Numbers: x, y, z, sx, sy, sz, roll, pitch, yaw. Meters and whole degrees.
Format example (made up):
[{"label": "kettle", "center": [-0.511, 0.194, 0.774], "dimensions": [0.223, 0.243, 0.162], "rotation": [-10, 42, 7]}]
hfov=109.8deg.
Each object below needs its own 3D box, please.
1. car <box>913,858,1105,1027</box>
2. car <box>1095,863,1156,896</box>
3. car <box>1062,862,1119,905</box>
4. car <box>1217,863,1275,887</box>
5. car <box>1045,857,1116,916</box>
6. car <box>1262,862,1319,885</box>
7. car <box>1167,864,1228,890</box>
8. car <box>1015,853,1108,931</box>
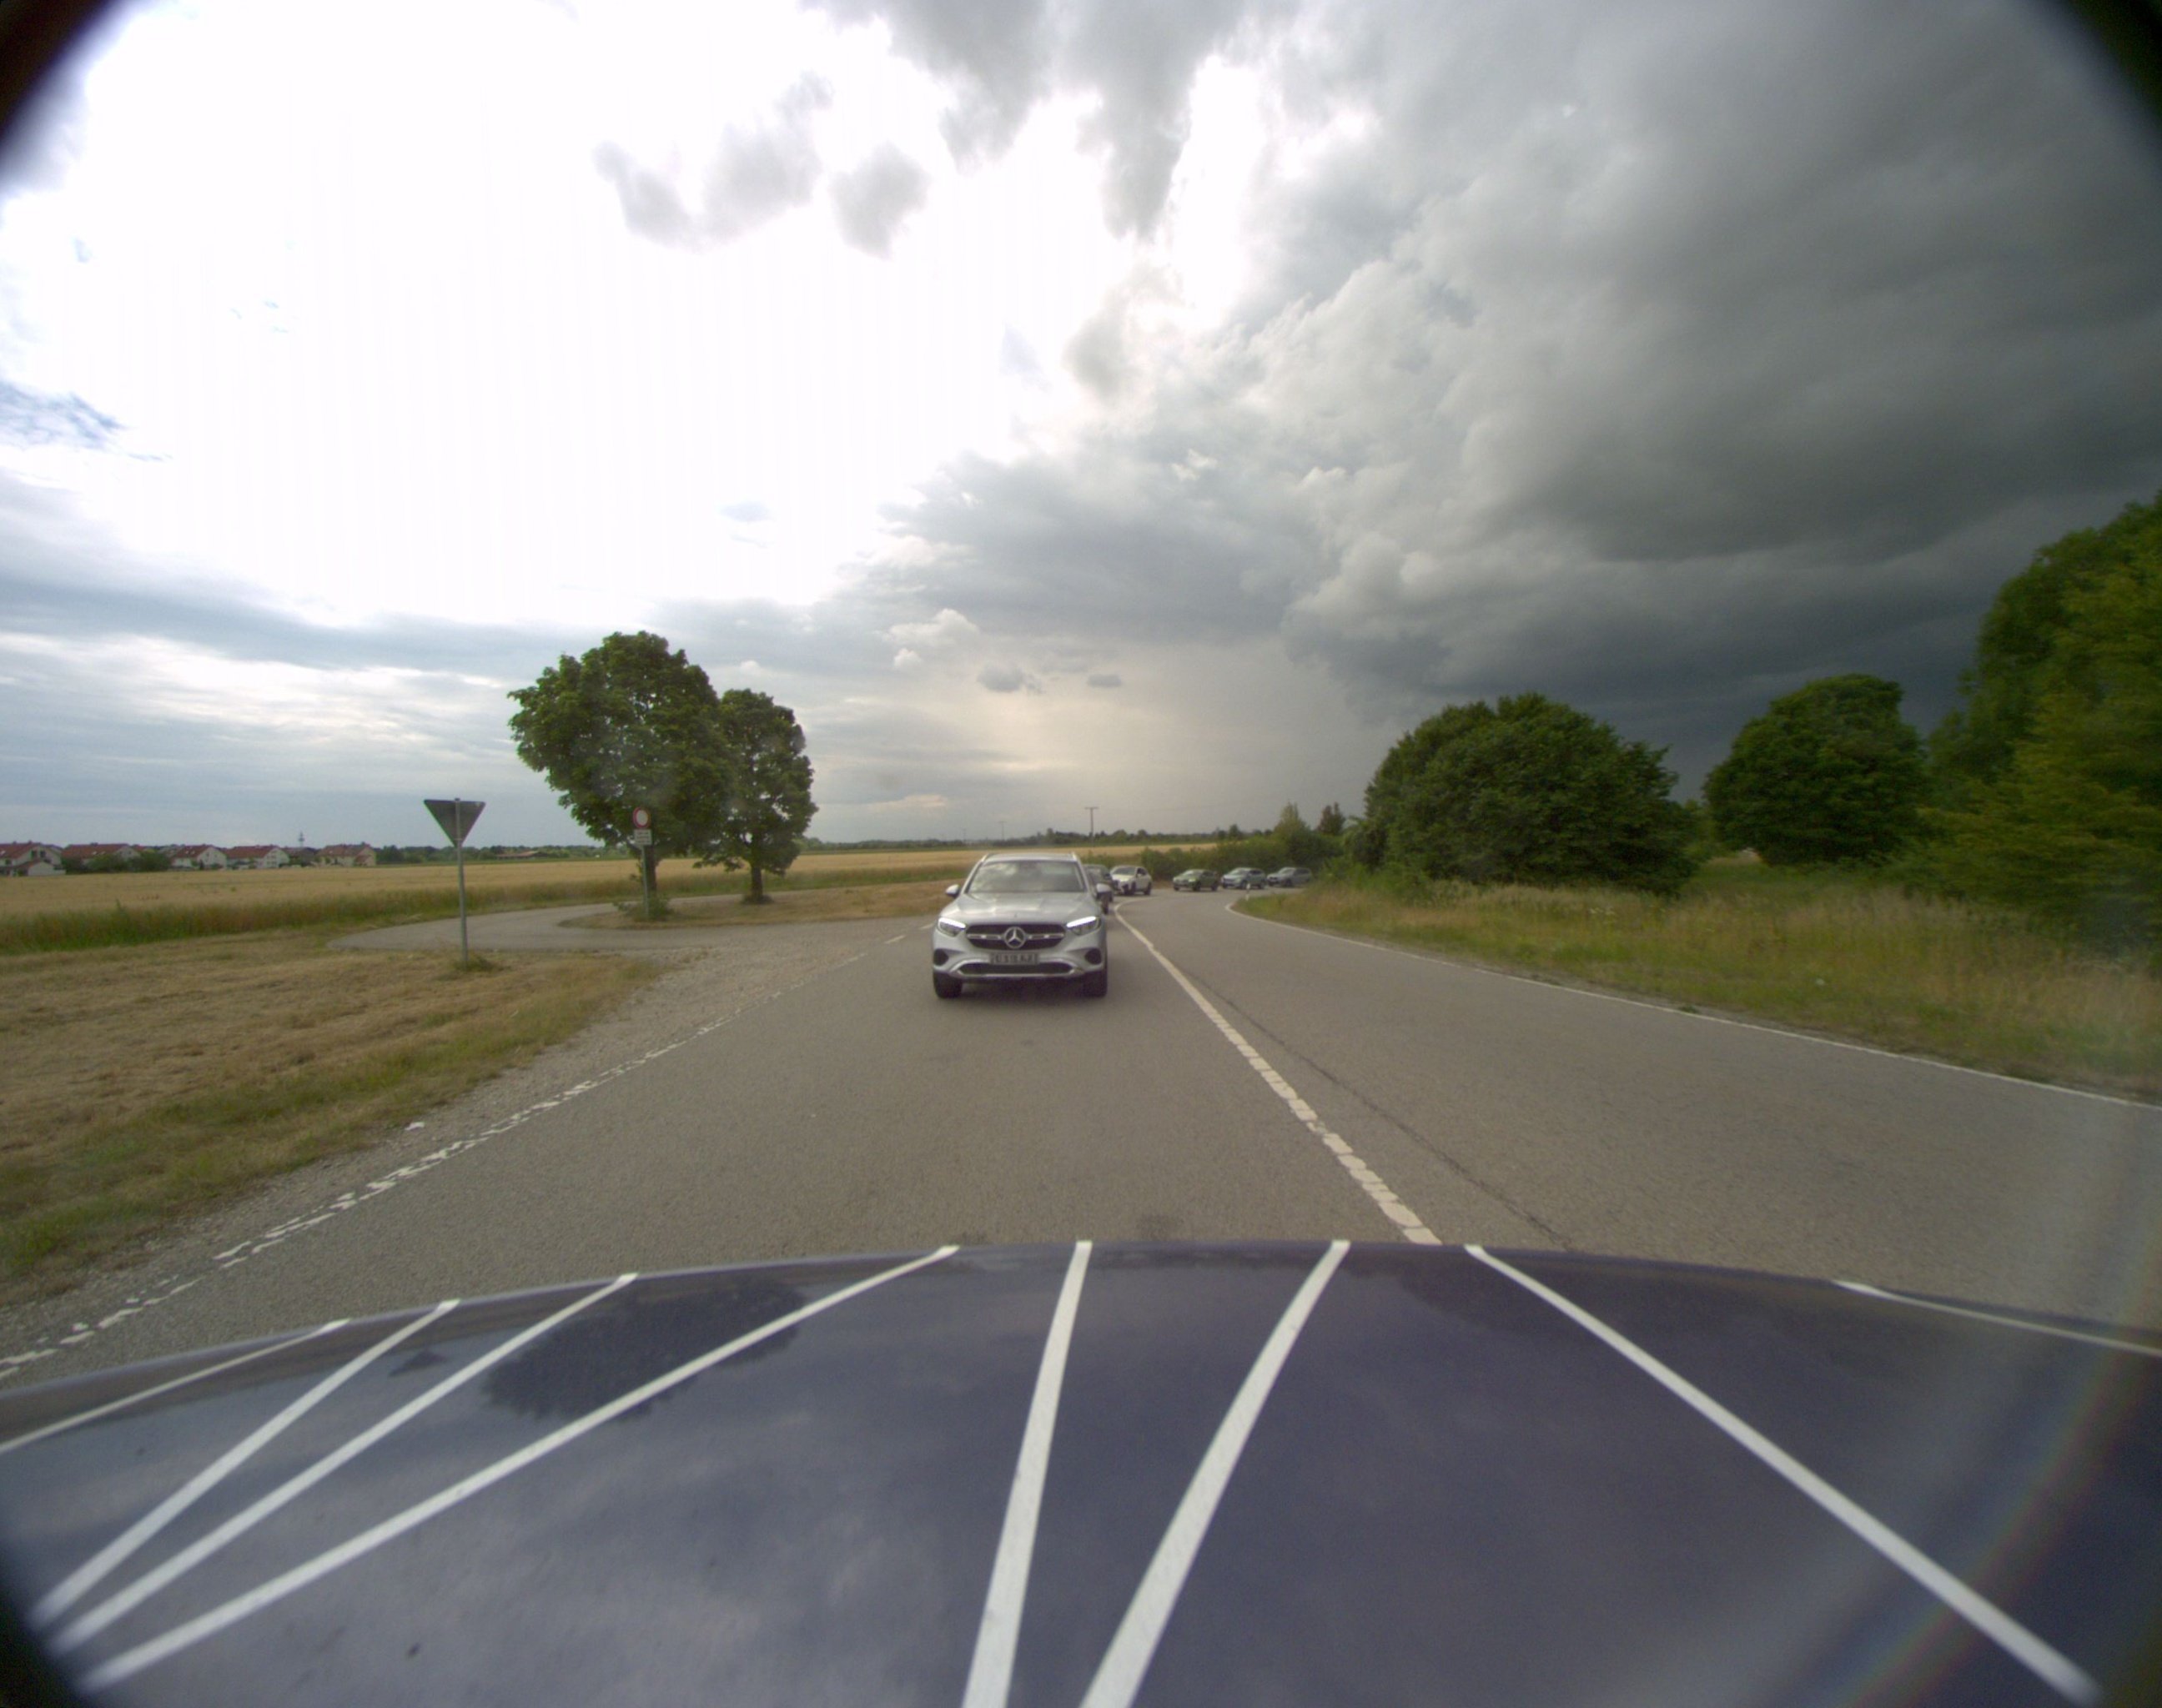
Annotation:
[{"label": "car", "center": [-0.716, 0.877, 9.658], "dimensions": [1.836, 1.577, 4.449], "rotation": [-1, 0, 0]}, {"label": "car", "center": [2.664, 1.418, 43.733], "dimensions": [1.995, 1.709, 5.217], "rotation": [2, 0, 21]}, {"label": "car", "center": [0.519, 1.246, 34.067], "dimensions": [1.997, 1.709, 5.211], "rotation": [2, 0, 6]}, {"label": "car", "center": [13.026, 1.630, 59.803], "dimensions": [1.994, 1.709, 5.220], "rotation": [2, 0, 44]}, {"label": "car", "center": [0.098, 1.059, 25.814], "dimensions": [1.998, 1.709, 5.211], "rotation": [2, -1, 4]}, {"label": "car", "center": [17.906, 1.655, 64.815], "dimensions": [5.218, 1.710, 1.994], "rotation": [-1, 3, -40]}, {"label": "car", "center": [8.338, 1.609, 53.914], "dimensions": [1.994, 1.709, 5.220], "rotation": [2, 0, 37]}, {"label": "car", "center": [-0.339, 0.895, 19.350], "dimensions": [1.998, 1.709, 5.211], "rotation": [0, -1, 2]}]
